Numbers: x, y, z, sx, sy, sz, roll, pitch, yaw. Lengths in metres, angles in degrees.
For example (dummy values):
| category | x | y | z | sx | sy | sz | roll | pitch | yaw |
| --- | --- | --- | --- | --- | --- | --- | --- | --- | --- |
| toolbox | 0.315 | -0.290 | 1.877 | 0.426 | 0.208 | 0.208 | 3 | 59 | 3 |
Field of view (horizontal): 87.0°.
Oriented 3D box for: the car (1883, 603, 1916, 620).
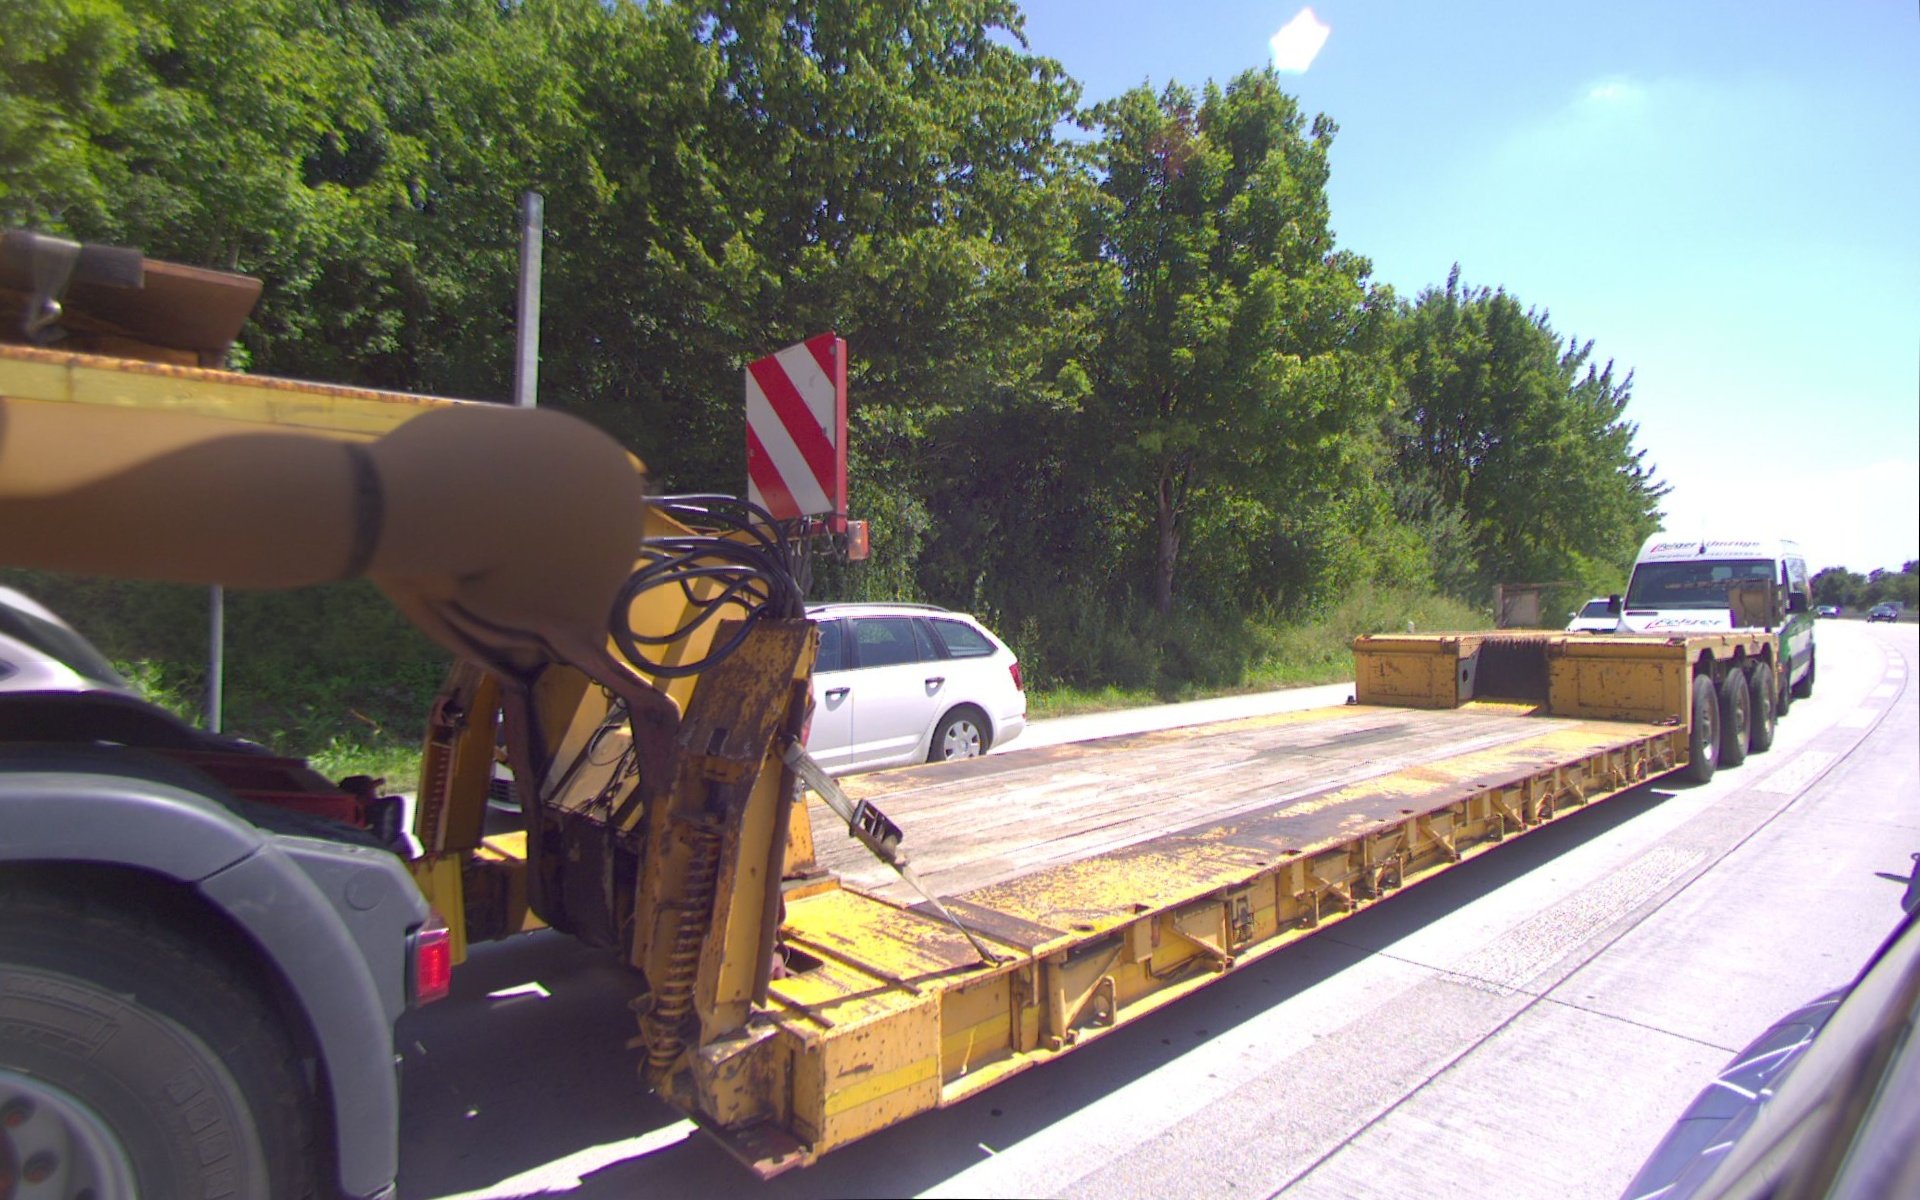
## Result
| category | x | y | z | sx | sy | sz | roll | pitch | yaw |
| --- | --- | --- | --- | --- | --- | --- | --- | --- | --- |
| car | 85.320 | 1.014 | 91.977 | 1.617 | 1.504 | 3.951 | 0 | 0 | 34 |

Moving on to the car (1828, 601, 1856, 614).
| category | x | y | z | sx | sy | sz | roll | pitch | yaw |
| --- | --- | --- | --- | --- | --- | --- | --- | --- | --- |
| car | 104.928 | 0.867 | 120.410 | 1.691 | 1.483 | 3.961 | 0 | 0 | 28 |

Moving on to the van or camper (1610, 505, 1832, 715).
| category | x | y | z | sx | sy | sz | roll | pitch | yaw |
| --- | --- | --- | --- | --- | --- | --- | --- | --- | --- |
| van or camper | 11.737 | 0.084 | 15.398 | 2.063 | 2.606 | 5.815 | 0 | 0 | 43 |

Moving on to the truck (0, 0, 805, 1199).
| category | x | y | z | sx | sy | sz | roll | pitch | yaw |
| --- | --- | --- | --- | --- | --- | --- | --- | --- | --- |
| truck | -4.047 | -0.487 | 0.832 | 7.342 | 3.820 | 3.017 | 0 | 0 | -42 |

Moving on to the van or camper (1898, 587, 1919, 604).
| category | x | y | z | sx | sy | sz | roll | pitch | yaw |
| --- | --- | --- | --- | --- | --- | --- | --- | --- | --- |
| van or camper | 119.231 | -0.539 | 126.546 | 2.166 | 2.039 | 5.565 | 0 | 0 | 36 |

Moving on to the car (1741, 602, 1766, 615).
| category | x | y | z | sx | sy | sz | roll | pitch | yaw |
| --- | --- | --- | --- | --- | --- | --- | --- | --- | --- |
| car | 102.698 | 1.050 | 130.991 | 1.757 | 1.581 | 4.325 | 0 | 0 | 28 |

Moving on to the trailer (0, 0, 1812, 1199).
| category | x | y | z | sx | sy | sz | roll | pitch | yaw |
| --- | --- | --- | --- | --- | --- | --- | --- | --- | --- |
| trailer | 1.840 | 0.104 | 6.183 | 16.076 | 2.626 | 3.031 | 0 | 0 | -42 |

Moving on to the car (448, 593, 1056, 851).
| category | x | y | z | sx | sy | sz | roll | pitch | yaw |
| --- | --- | --- | --- | --- | --- | --- | --- | --- | --- |
| car | -1.394 | 0.695 | 8.072 | 4.521 | 1.480 | 1.769 | 0 | 0 | -43 |

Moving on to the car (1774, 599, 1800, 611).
| category | x | y | z | sx | sy | sz | roll | pitch | yaw |
| --- | --- | --- | --- | --- | --- | --- | --- | --- | --- |
| car | 111.173 | 0.671 | 136.053 | 1.874 | 1.483 | 3.962 | 0 | 0 | 27 |

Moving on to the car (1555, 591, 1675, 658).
| category | x | y | z | sx | sy | sz | roll | pitch | yaw |
| --- | --- | --- | --- | --- | --- | --- | --- | --- | --- |
| car | 17.021 | 0.564 | 26.233 | 1.768 | 1.581 | 4.297 | 0 | 0 | 45 |

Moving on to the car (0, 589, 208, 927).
| category | x | y | z | sx | sy | sz | roll | pitch | yaw |
| --- | --- | --- | --- | --- | --- | --- | --- | --- | --- |
| car | -5.840 | 0.705 | 4.150 | 4.290 | 1.480 | 1.770 | -1 | 0 | -42 |
